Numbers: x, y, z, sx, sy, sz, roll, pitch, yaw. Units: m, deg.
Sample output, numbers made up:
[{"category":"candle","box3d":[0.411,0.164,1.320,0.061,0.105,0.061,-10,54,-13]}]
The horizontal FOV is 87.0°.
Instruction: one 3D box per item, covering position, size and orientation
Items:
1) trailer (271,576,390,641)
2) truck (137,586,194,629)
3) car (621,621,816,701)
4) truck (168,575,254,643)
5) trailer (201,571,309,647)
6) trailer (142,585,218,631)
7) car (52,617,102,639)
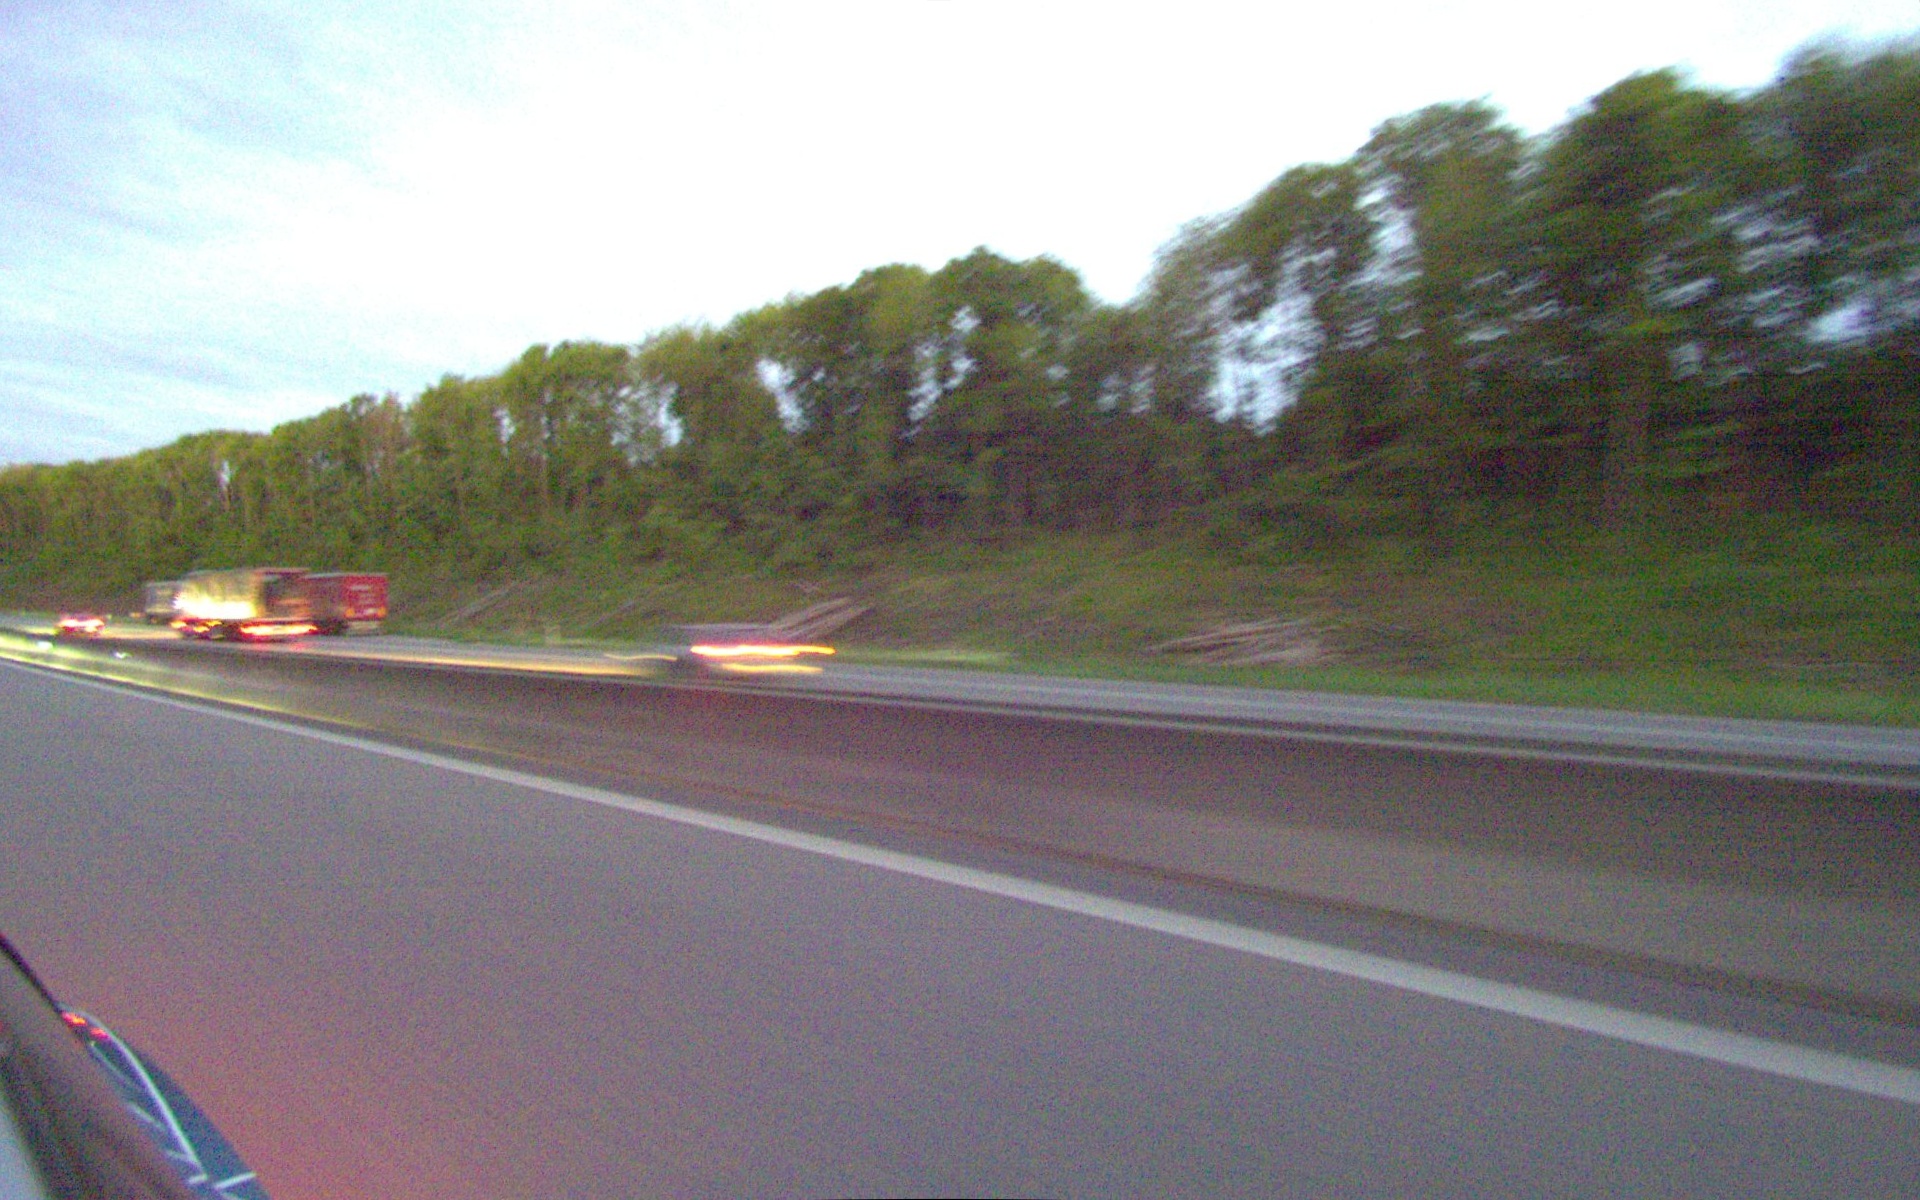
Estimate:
[{"category":"trailer","box3d":[-43.856,0.513,70.148,14.179,4.135,3.157,0,0,42]},{"category":"truck","box3d":[-79.116,0.668,100.709,7.687,4.135,3.157,0,0,42]},{"category":"car","box3d":[-5.453,1.276,22.549,4.651,1.587,1.861,-1,-1,40]},{"category":"truck","box3d":[-46.742,0.572,63.087,7.114,4.002,2.621,-1,-1,39]},{"category":"trailer","box3d":[-40.148,0.529,57.460,10.180,3.960,2.619,-1,-1,41]},{"category":"trailer","box3d":[-74.429,0.675,96.434,13.734,4.135,3.158,0,0,41]},{"category":"car","box3d":[-60.978,1.923,69.838,5.352,1.462,1.890,-1,-1,41]}]
